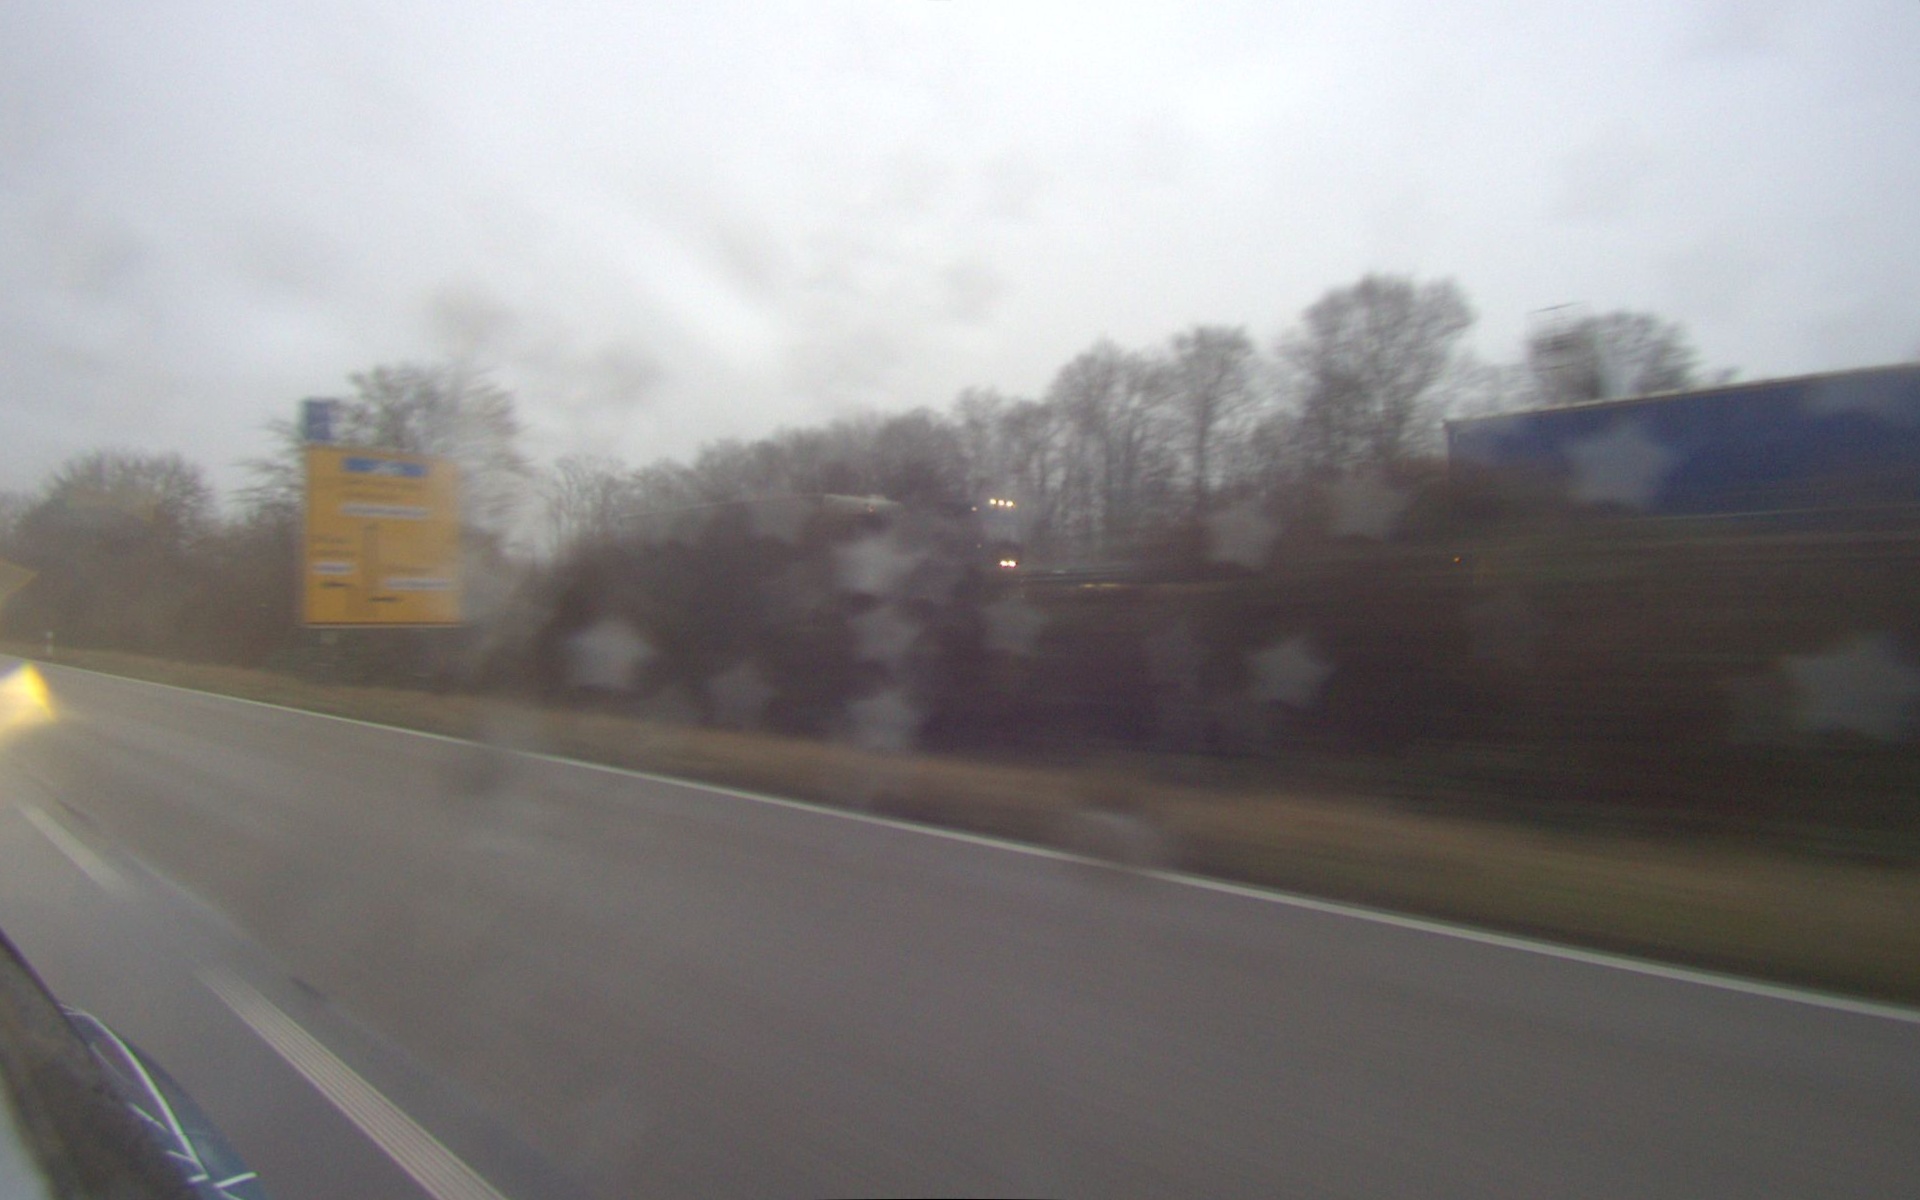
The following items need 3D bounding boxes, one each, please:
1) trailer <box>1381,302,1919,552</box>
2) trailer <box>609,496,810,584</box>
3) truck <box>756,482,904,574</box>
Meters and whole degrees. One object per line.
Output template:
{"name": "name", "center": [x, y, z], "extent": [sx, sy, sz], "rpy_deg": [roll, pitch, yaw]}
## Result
{"name": "trailer", "center": [14.917, -3.172, 20.546], "extent": [11.380, 3.661, 2.967], "rpy_deg": [-2, -2, 41]}
{"name": "trailer", "center": [-10.924, -2.363, 42.957], "extent": [11.080, 2.913, 2.410], "rpy_deg": [-2, -2, 41]}
{"name": "truck", "center": [-4.913, -2.559, 37.689], "extent": [5.581, 2.909, 2.424], "rpy_deg": [-2, -2, 41]}
